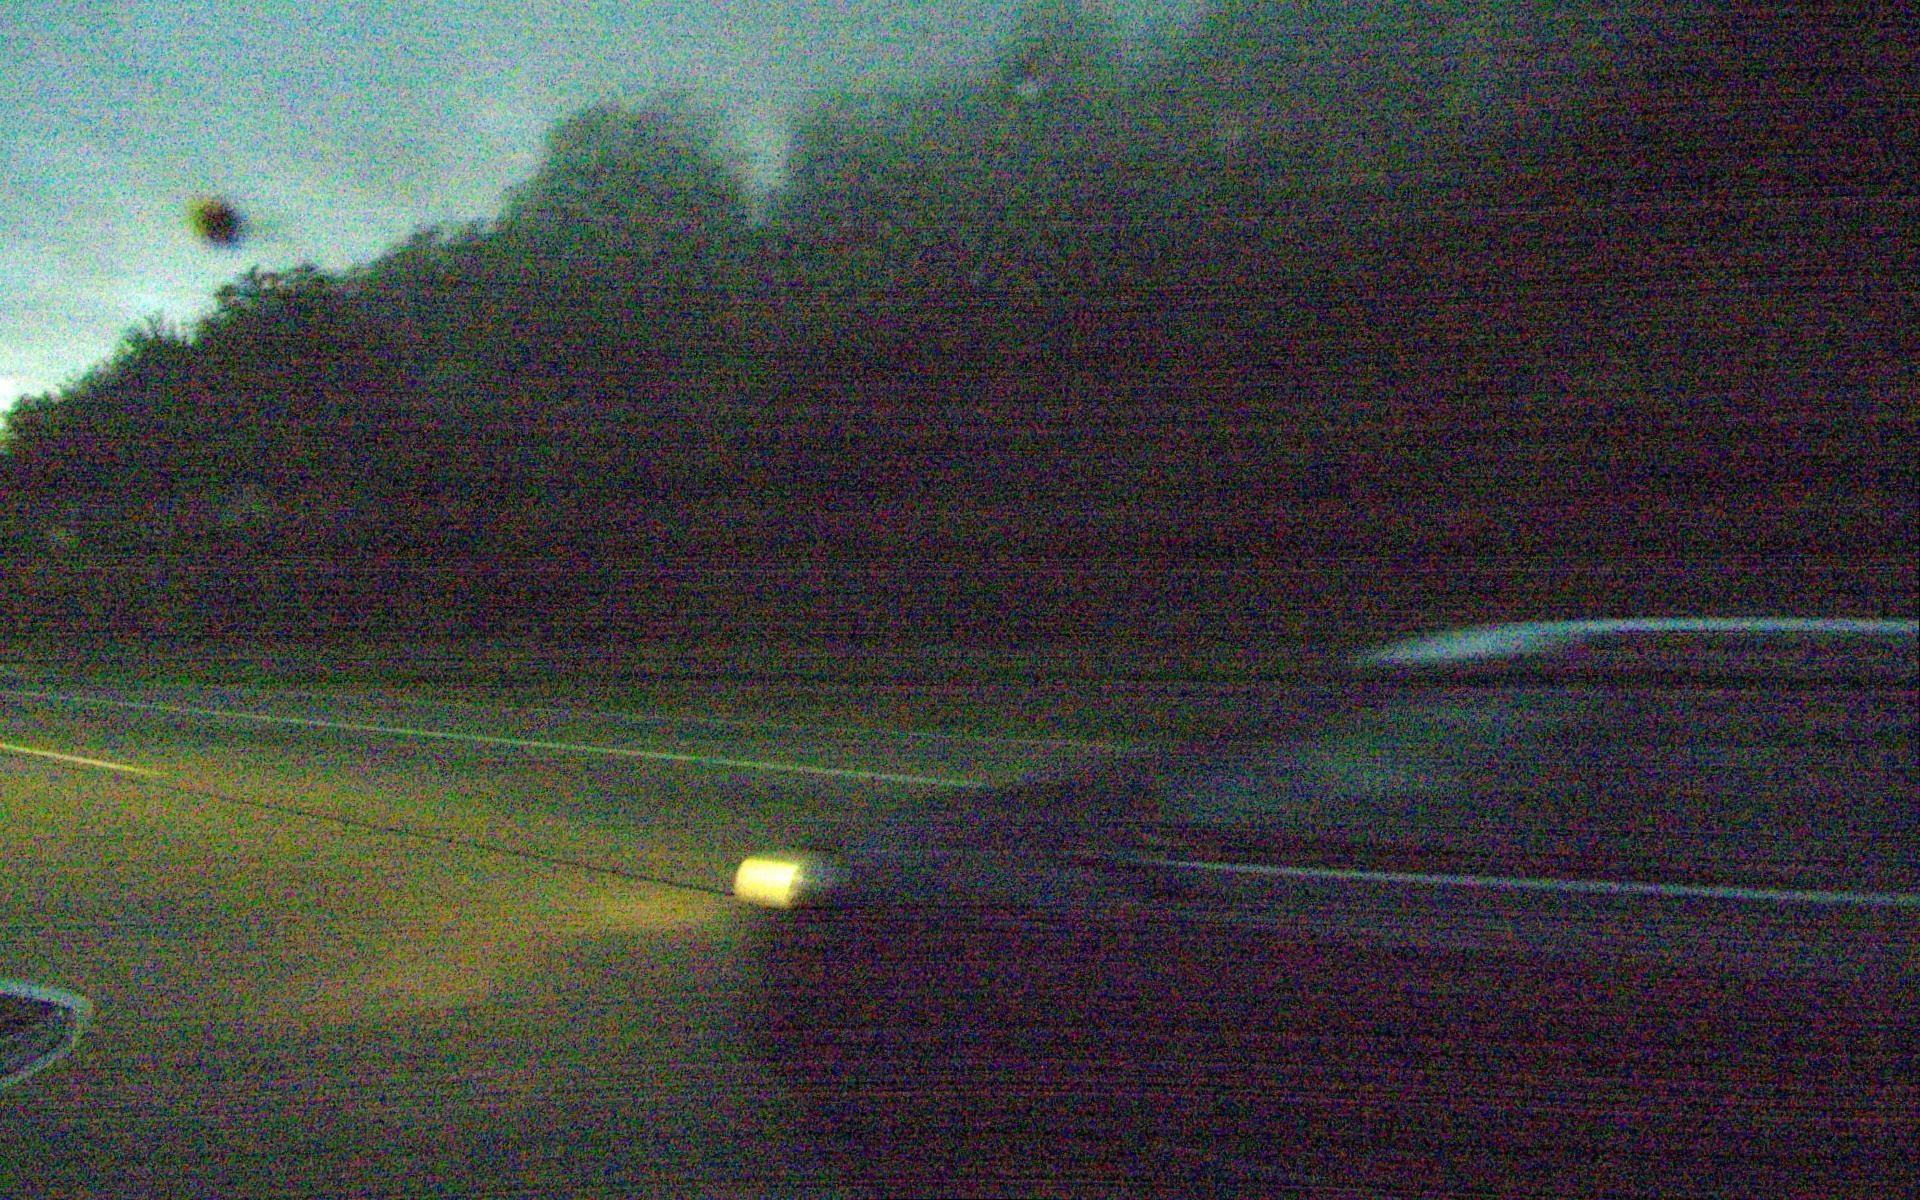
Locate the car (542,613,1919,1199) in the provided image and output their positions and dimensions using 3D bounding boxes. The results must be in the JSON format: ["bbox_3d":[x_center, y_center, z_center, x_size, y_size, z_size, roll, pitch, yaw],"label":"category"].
[{"bbox_3d":[1.135,0.822,2.844,4.875,1.509,1.690,-1,-2,30],"label":"car"}]
